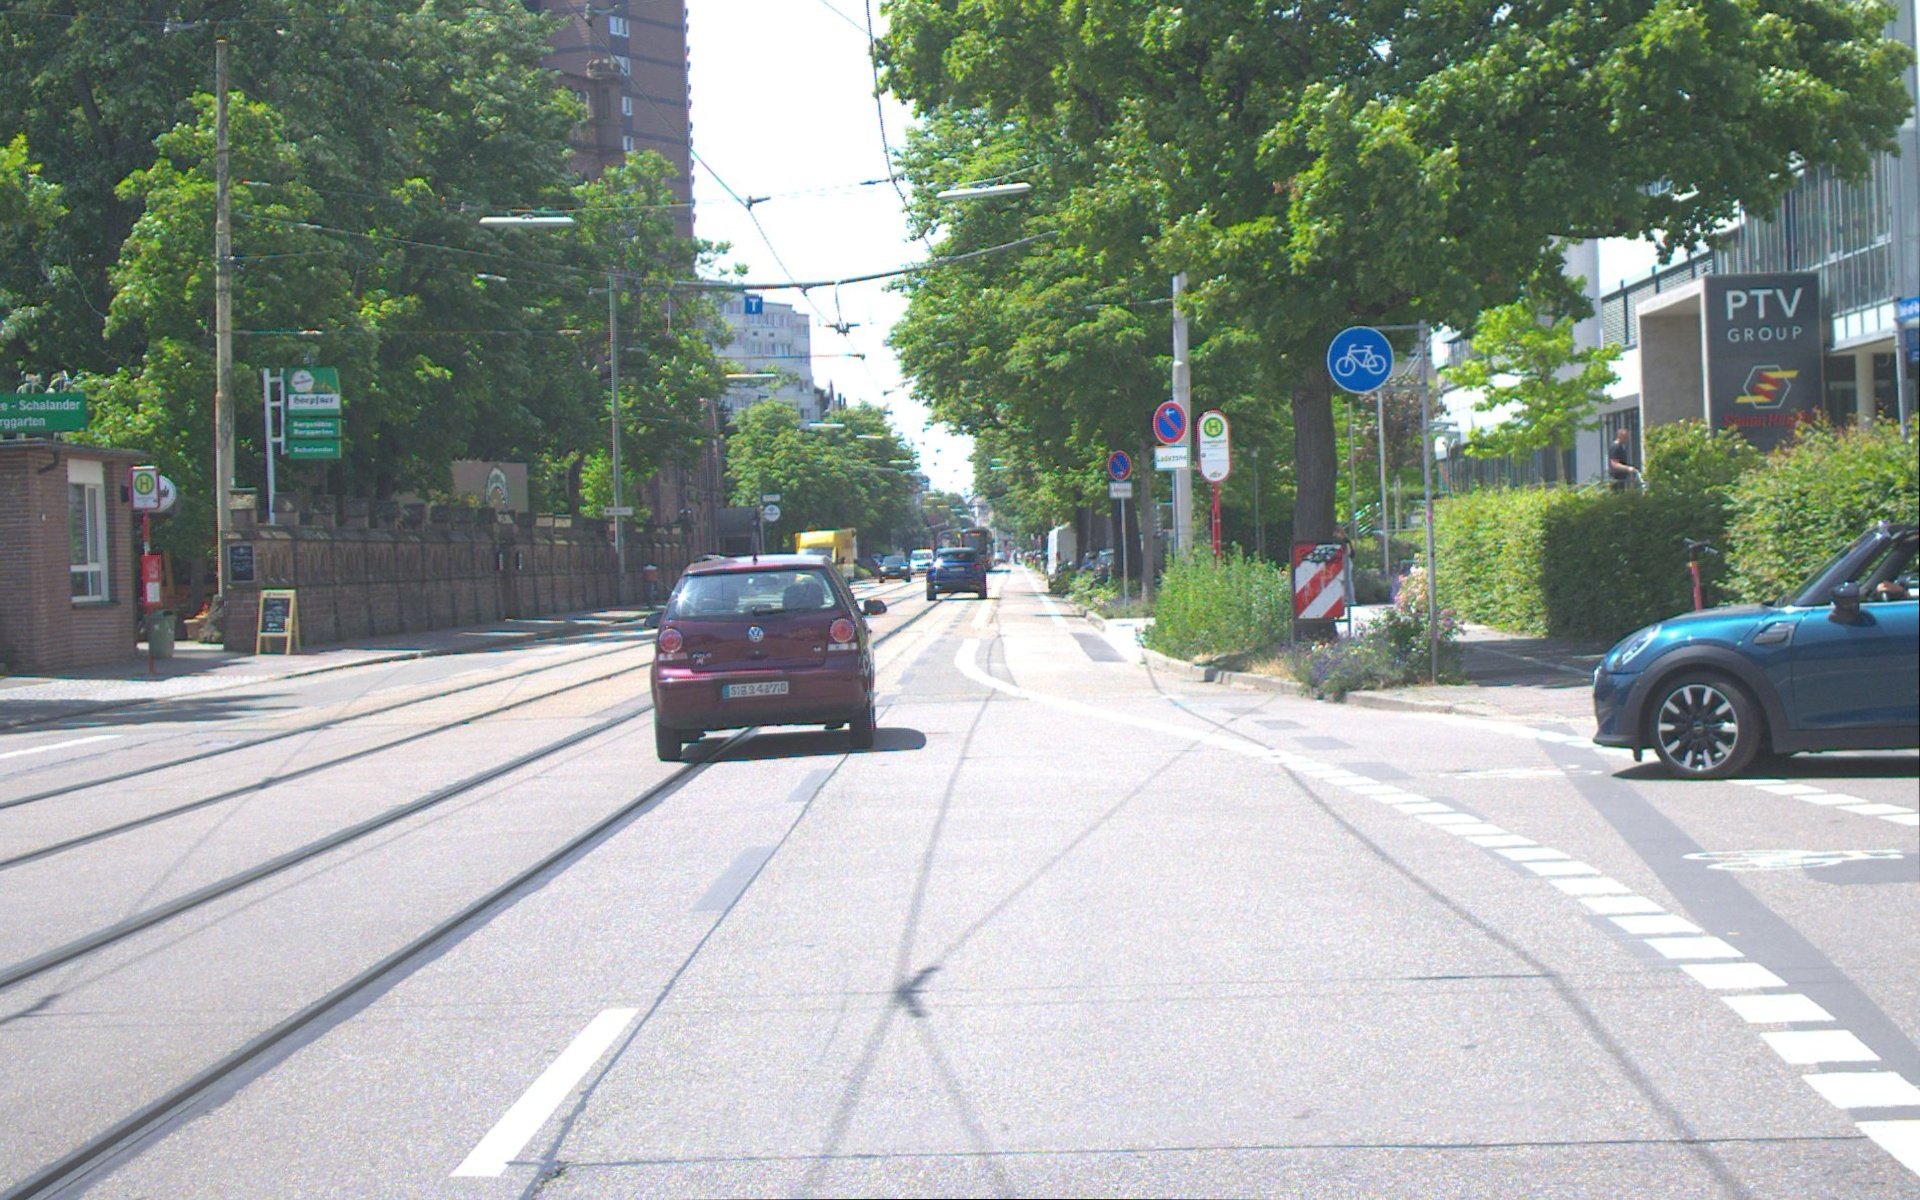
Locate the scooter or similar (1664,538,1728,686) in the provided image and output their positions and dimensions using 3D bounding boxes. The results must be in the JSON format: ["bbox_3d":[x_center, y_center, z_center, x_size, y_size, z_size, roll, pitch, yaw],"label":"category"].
[{"bbox_3d":[6.238,0.093,29.130,0.326,1.218,1.150,0,1,22],"label":"scooter or similar"}]

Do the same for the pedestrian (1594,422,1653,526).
[{"bbox_3d":[11.363,-2.157,58.884,0.874,1.709,1.089,-3,0,9],"label":"pedestrian"}]

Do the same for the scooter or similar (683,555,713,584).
[{"bbox_3d":[-10.433,-1.227,136.898,1.088,1.151,0.527,-1,1,-20],"label":"scooter or similar"}]

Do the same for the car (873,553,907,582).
[{"bbox_3d":[-3.978,-1.867,196.345,1.770,1.510,4.000,-2,1,1],"label":"car"}]

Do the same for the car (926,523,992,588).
[{"bbox_3d":[-0.052,-1.436,109.988,1.993,2.007,4.000,-1,1,-1],"label":"car"}]

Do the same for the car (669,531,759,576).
[{"bbox_3d":[-11.896,-2.265,166.370,3.987,2.007,2.000,-2,1,5],"label":"car"}]

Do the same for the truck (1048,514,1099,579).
[{"bbox_3d":[4.676,-2.241,142.629,1.993,2.652,4.875,0,1,1],"label":"truck"}]

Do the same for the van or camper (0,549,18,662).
[{"bbox_3d":[-15.796,0.107,49.740,3.784,1.623,1.871,0,2,1],"label":"van or camper"}]

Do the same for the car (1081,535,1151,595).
[{"bbox_3d":[4.201,-0.974,93.134,1.688,1.497,3.627,-3,1,1],"label":"car"}]

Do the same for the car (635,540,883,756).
[{"bbox_3d":[-1.482,0.311,26.579,1.619,1.481,4.000,-2,1,0],"label":"car"}]

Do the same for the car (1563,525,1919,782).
[{"bbox_3d":[5.530,0.258,19.173,3.919,1.367,1.701,-2,1,26],"label":"car"}]

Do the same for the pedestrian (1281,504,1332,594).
[{"bbox_3d":[7.100,-1.051,70.448,0.677,1.790,0.675,-4,1,-30],"label":"pedestrian"}]

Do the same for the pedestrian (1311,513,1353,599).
[{"bbox_3d":[7.558,-0.900,69.850,0.537,1.709,0.566,-4,0,-28],"label":"pedestrian"}]

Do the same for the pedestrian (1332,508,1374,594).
[{"bbox_3d":[8.040,-0.999,70.371,0.537,1.709,0.566,-4,0,-28],"label":"pedestrian"}]

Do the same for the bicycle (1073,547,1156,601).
[{"bbox_3d":[3.618,-0.607,80.642,1.883,1.178,0.694,-2,0,1],"label":"bicycle"}]

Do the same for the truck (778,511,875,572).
[{"bbox_3d":[-6.424,-2.860,166.529,2.371,2.777,7.314,-2,1,16],"label":"truck"}]

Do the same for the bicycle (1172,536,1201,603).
[{"bbox_3d":[6.257,-0.842,95.084,0.690,1.779,1.810,-3,0,4],"label":"bicycle"}]
